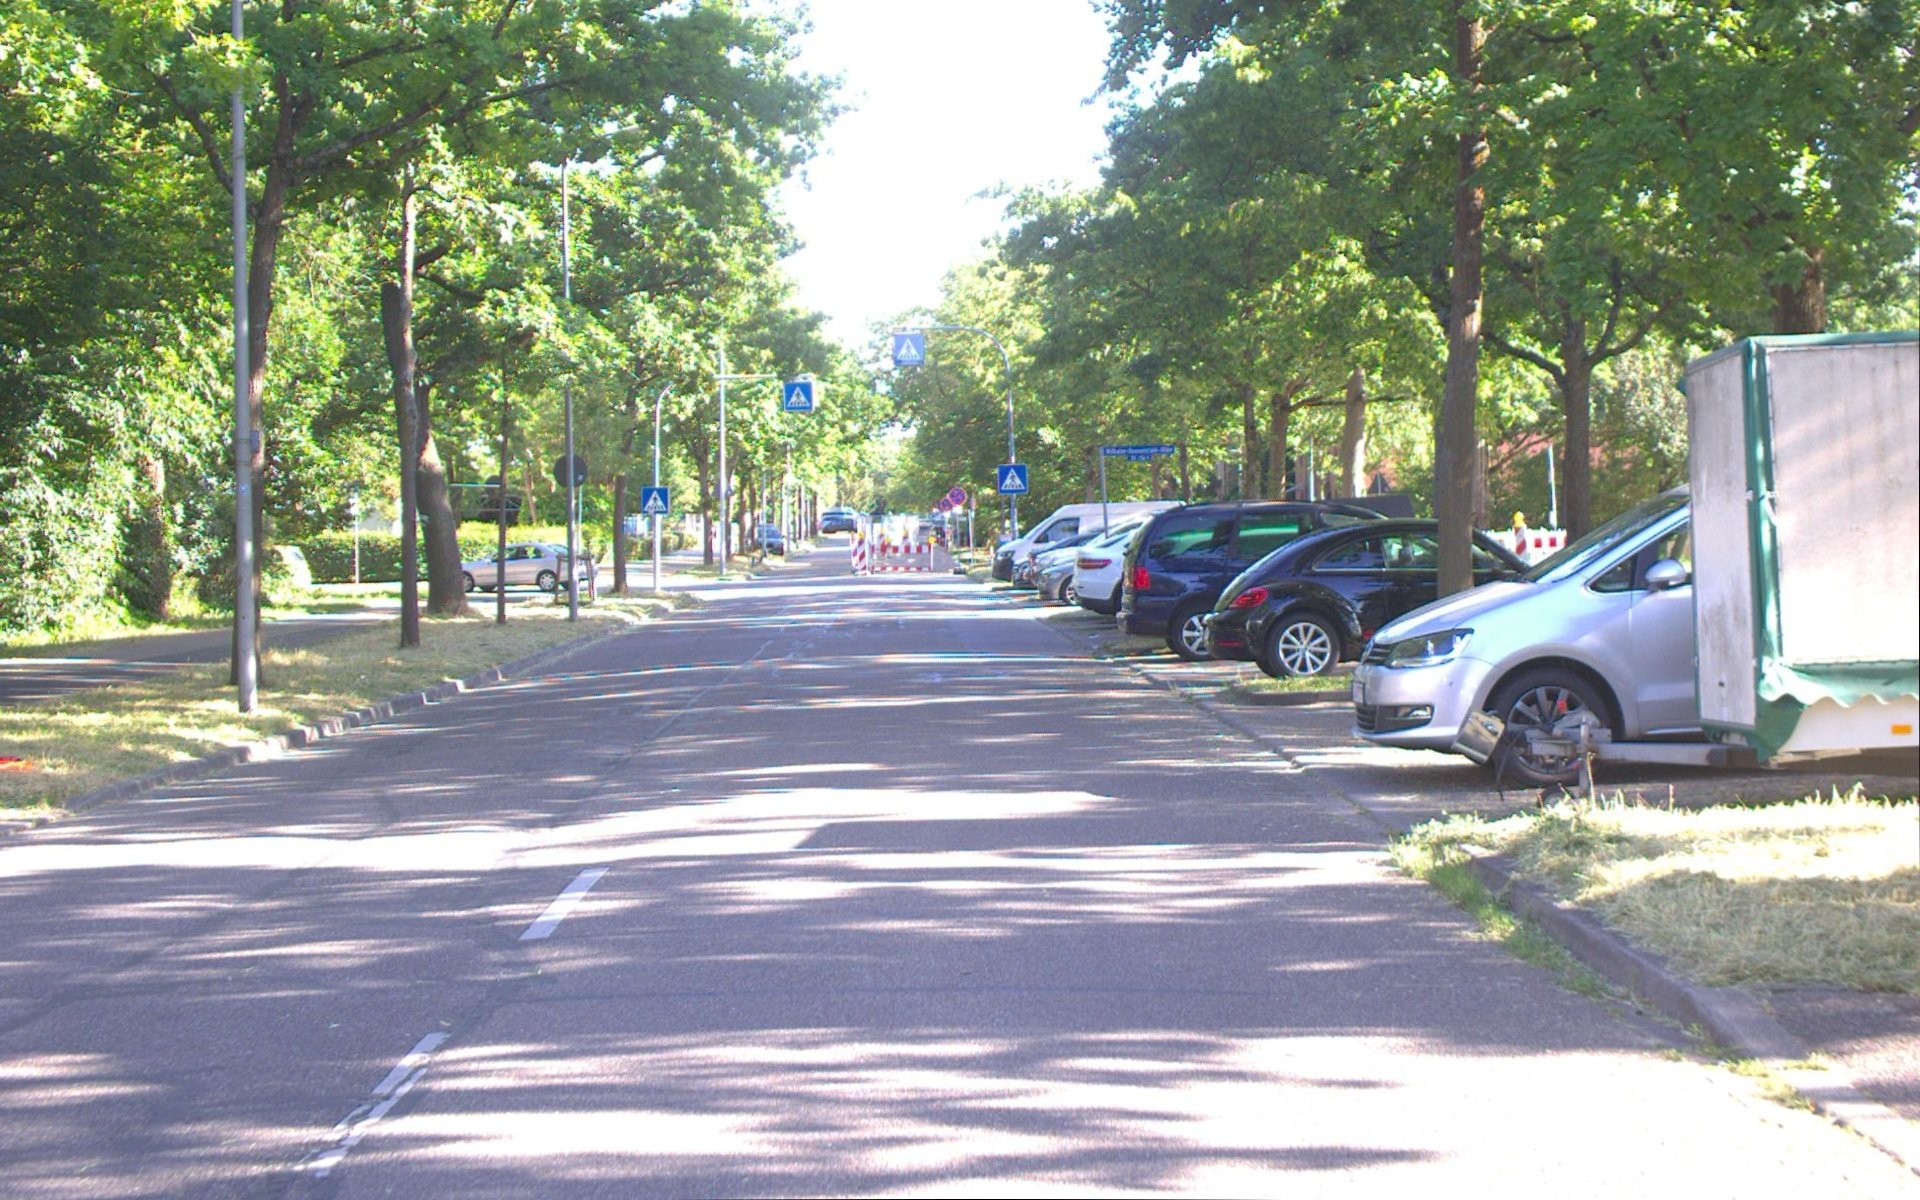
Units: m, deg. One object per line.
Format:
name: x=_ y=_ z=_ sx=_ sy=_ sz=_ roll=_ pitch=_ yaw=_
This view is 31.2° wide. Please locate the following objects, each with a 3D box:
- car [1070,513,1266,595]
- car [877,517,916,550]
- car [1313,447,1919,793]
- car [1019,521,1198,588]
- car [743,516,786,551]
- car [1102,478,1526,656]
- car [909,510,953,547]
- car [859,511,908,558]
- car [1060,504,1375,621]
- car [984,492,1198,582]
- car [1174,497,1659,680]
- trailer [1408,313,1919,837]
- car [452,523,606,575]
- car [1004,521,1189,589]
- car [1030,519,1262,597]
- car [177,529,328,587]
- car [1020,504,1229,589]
car: x=4.307 y=-0.966 z=71.559 sx=3.884 sy=1.492 sz=1.777 roll=-3 pitch=1 yaw=-1
car: x=-3.303 y=-3.474 z=178.790 sx=1.993 sy=1.710 sz=4.001 roll=0 pitch=1 yaw=-1
car: x=4.451 y=0.048 z=19.421 sx=4.642 sy=1.716 sz=1.988 roll=-3 pitch=1 yaw=0
car: x=3.367 y=-1.056 z=78.518 sx=3.987 sy=1.428 sz=1.901 roll=-1 pitch=1 yaw=1
car: x=-9.624 y=-3.276 z=169.148 sx=1.993 sy=1.710 sz=4.001 roll=0 pitch=1 yaw=-1
car: x=3.952 y=-0.388 z=38.945 sx=4.530 sy=1.795 sz=1.936 roll=-2 pitch=1 yaw=0
car: x=-1.394 y=-3.393 z=163.050 sx=1.993 sy=1.710 sz=4.001 roll=0 pitch=1 yaw=-1
car: x=-3.163 y=-2.710 z=141.802 sx=1.993 sy=1.926 sz=4.001 roll=0 pitch=1 yaw=-1
car: x=3.947 y=-0.599 z=53.248 sx=4.670 sy=1.575 sz=1.917 roll=-3 pitch=1 yaw=0
car: x=3.264 y=-1.588 z=86.333 sx=5.186 sy=2.098 sz=2.083 roll=-2 pitch=1 yaw=-2
car: x=4.217 y=-0.128 z=32.339 sx=4.245 sy=1.513 sz=2.078 roll=-2 pitch=1 yaw=1
trailer: x=5.207 y=-0.221 z=16.655 sx=5.775 sy=2.309 sz=1.686 roll=-3 pitch=1 yaw=1
car: x=-12.647 y=-1.498 z=100.979 sx=3.990 sy=1.479 sz=1.998 roll=-1 pitch=1 yaw=17
car: x=3.189 y=-1.073 z=81.081 sx=4.212 sy=1.563 sz=1.934 roll=0 pitch=1 yaw=-2
car: x=3.672 y=-0.839 z=68.429 sx=4.445 sy=1.385 sz=1.911 roll=-2 pitch=1 yaw=-1
car: x=-21.059 y=-1.253 z=102.435 sx=3.987 sy=1.650 sz=2.000 roll=-1 pitch=1 yaw=4
car: x=3.611 y=-1.188 z=76.030 sx=4.384 sy=1.645 sz=1.851 roll=-3 pitch=1 yaw=-2
